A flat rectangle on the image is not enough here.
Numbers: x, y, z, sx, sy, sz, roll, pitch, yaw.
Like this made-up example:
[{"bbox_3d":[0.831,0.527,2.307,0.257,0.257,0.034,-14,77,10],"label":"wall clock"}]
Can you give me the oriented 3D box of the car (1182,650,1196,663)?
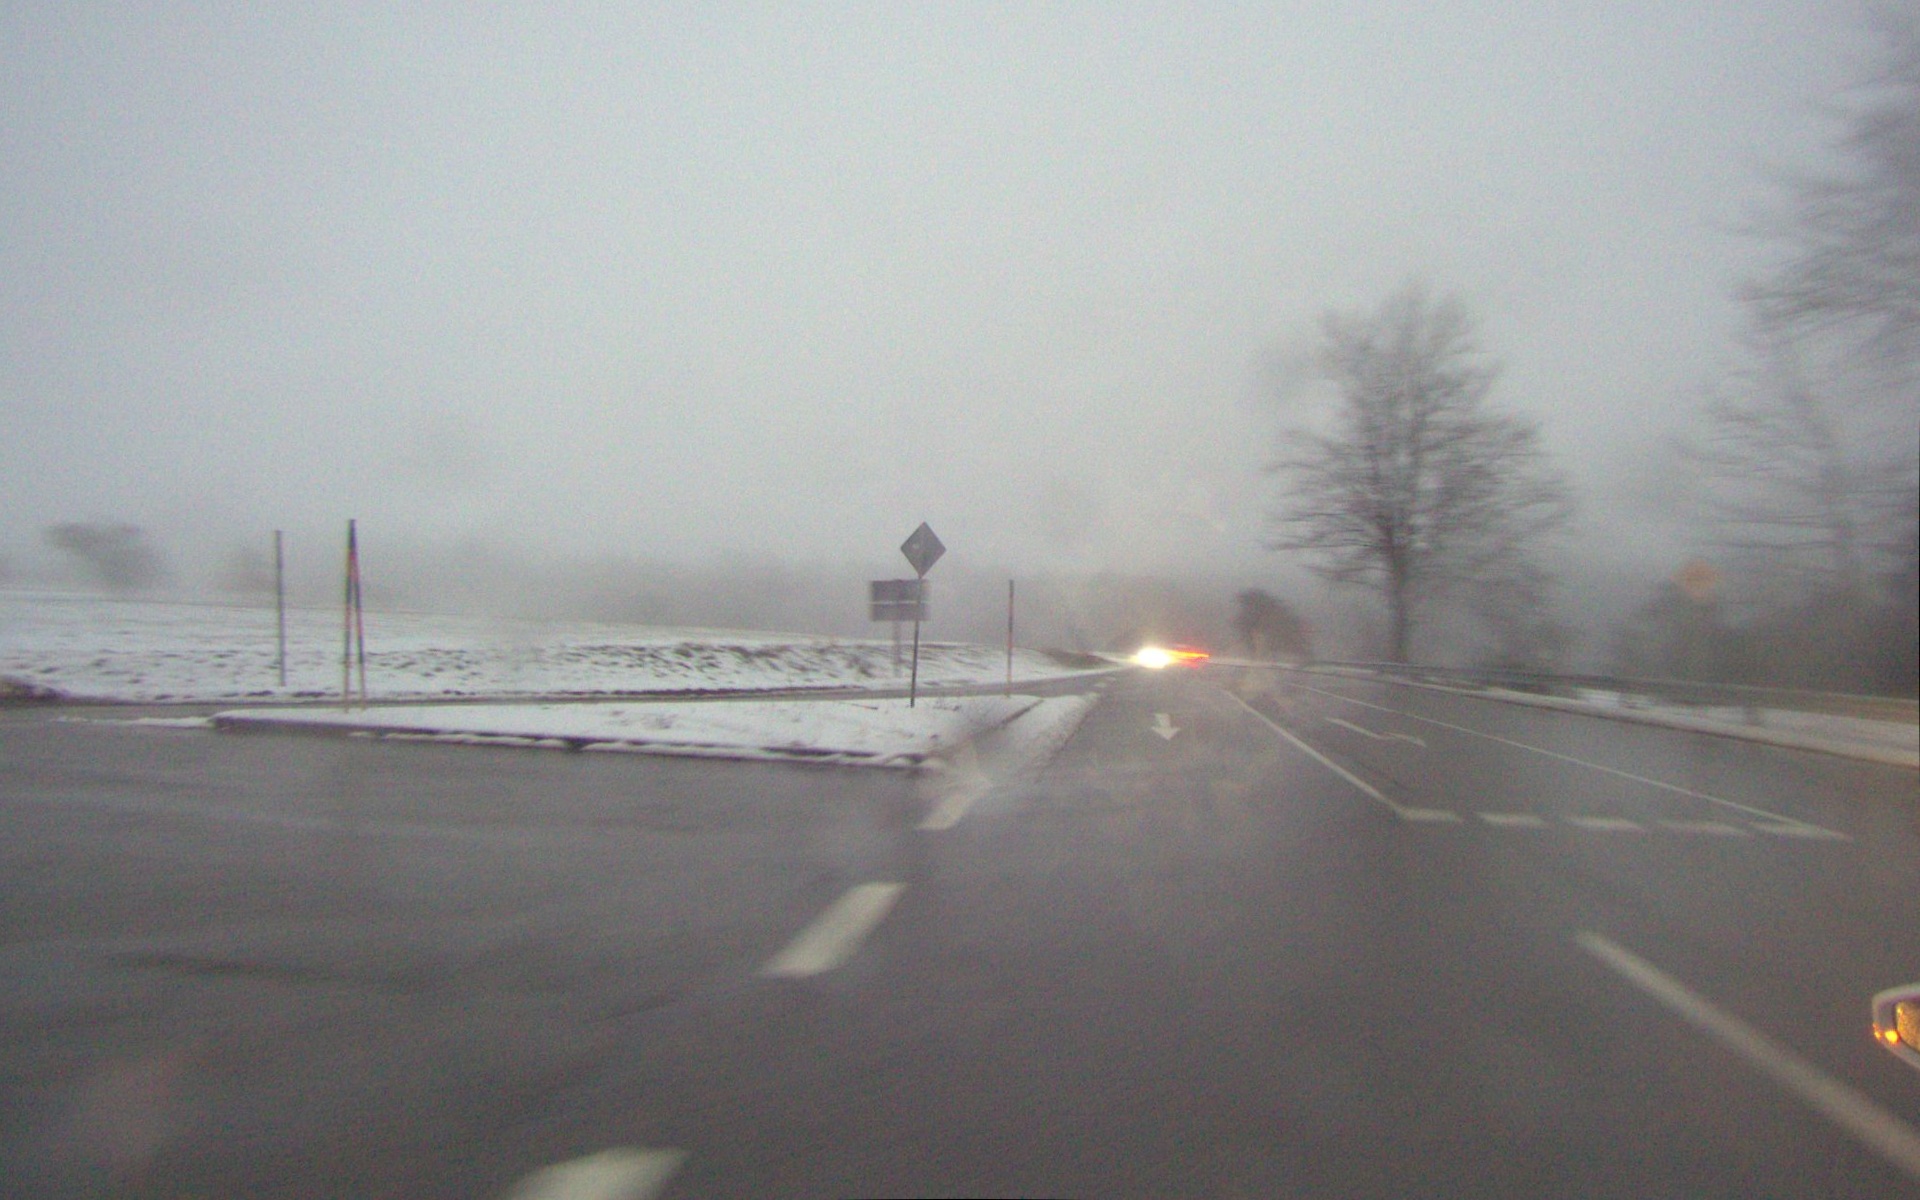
[{"bbox_3d":[29.215,7.208,128.392,1.663,1.572,3.859,1,-2,12],"label":"car"}]
